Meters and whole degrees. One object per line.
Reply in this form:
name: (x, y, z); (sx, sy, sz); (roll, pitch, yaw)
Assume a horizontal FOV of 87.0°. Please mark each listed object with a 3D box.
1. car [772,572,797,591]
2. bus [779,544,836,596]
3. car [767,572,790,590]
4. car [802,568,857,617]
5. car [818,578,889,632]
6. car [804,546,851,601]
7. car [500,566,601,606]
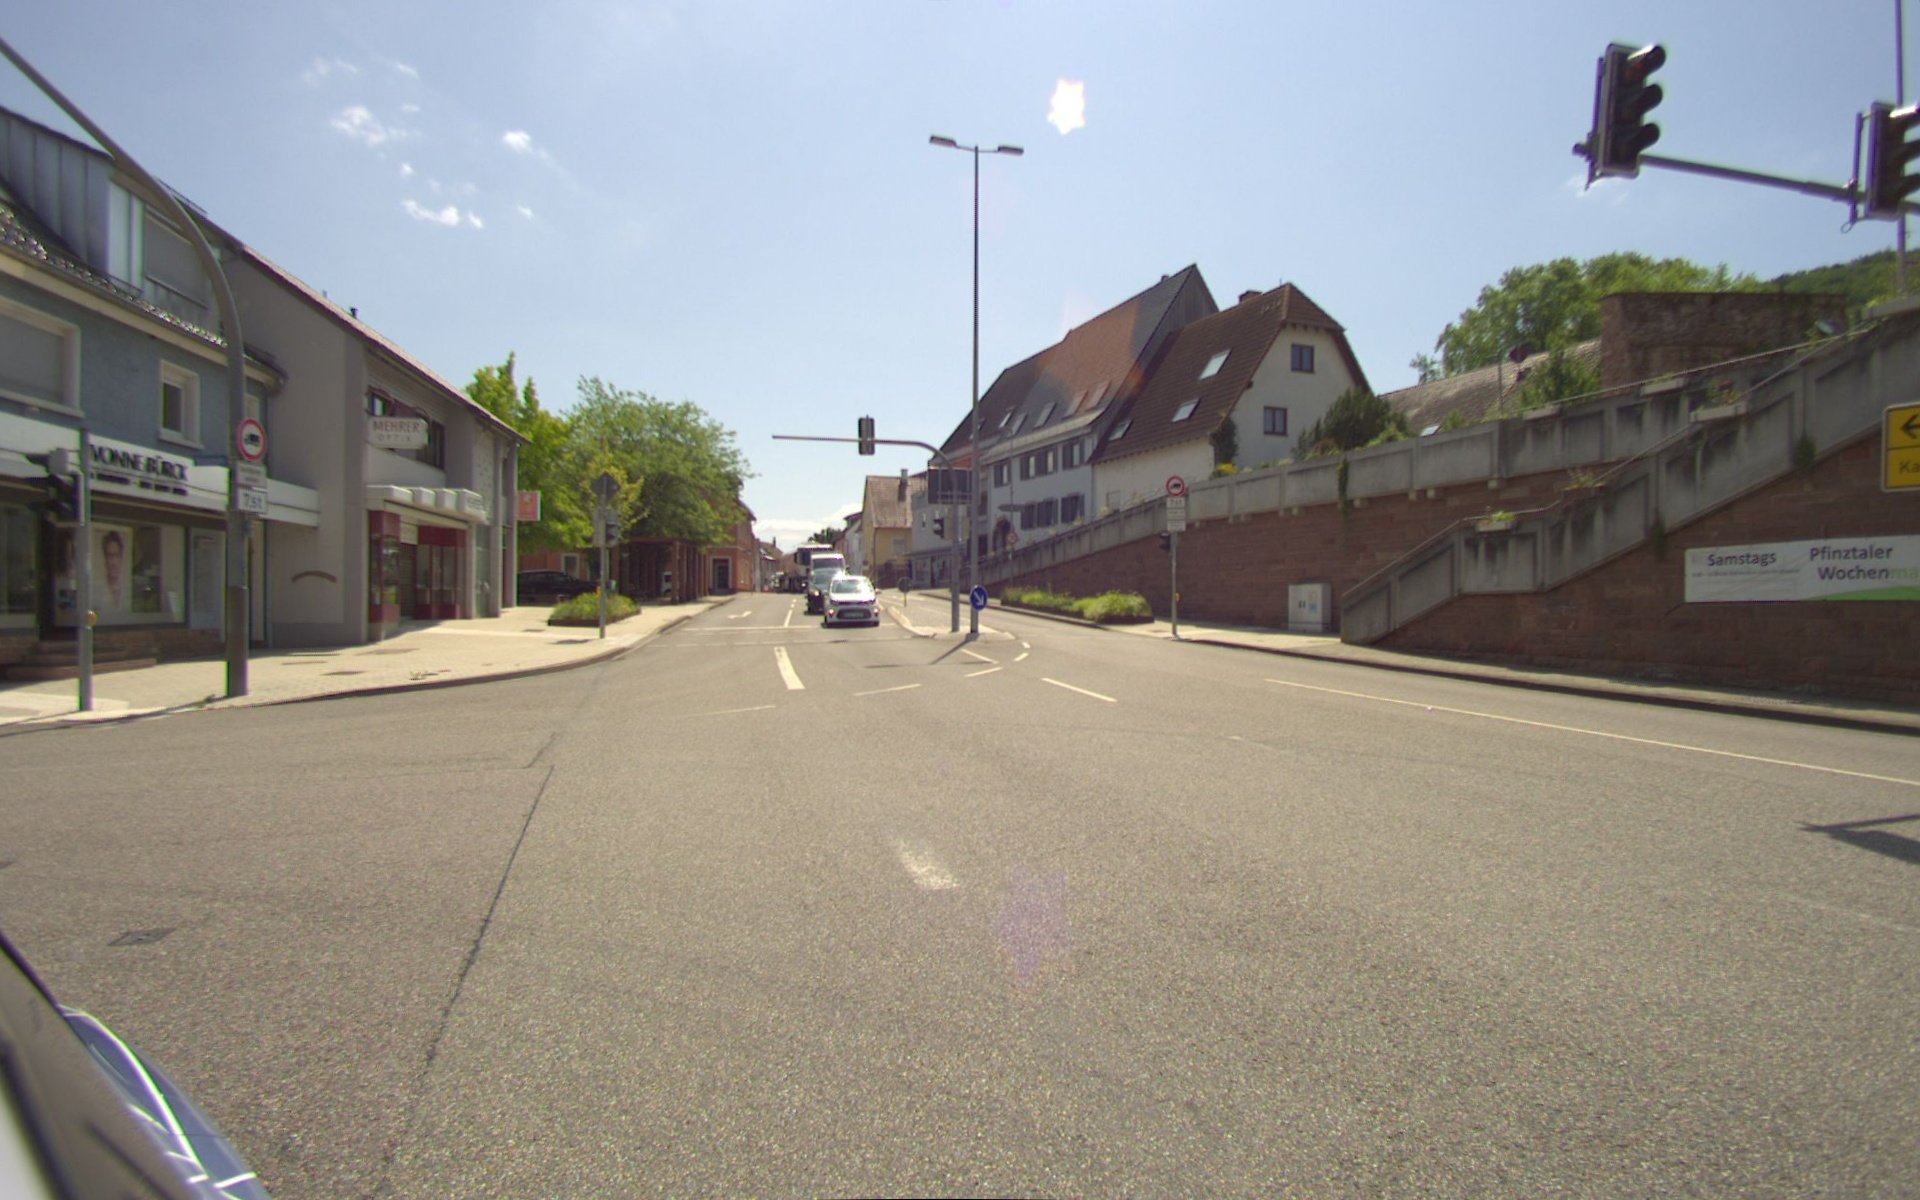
car: (-15.690, -1.681, 90.391); (1.967, 1.648, 4.011); (-2, 2, -13)
bus: (-10.537, -2.043, 68.896); (2.505, 3.192, 12.687); (-2, 2, -14)
car: (-17.570, -1.854, 97.748); (1.967, 1.648, 4.010); (-2, 2, -13)
car: (-5.029, -0.340, 38.586); (1.834, 1.727, 4.009); (-2, 2, -10)
car: (-3.370, 0.098, 31.384); (1.834, 1.490, 4.009); (-2, 2, -11)
car: (-7.434, -1.492, 56.228); (2.267, 2.842, 6.520); (-2, 2, -10)
car: (-18.917, -0.645, 46.921); (3.937, 1.691, 2.003); (-2, 1, -7)
